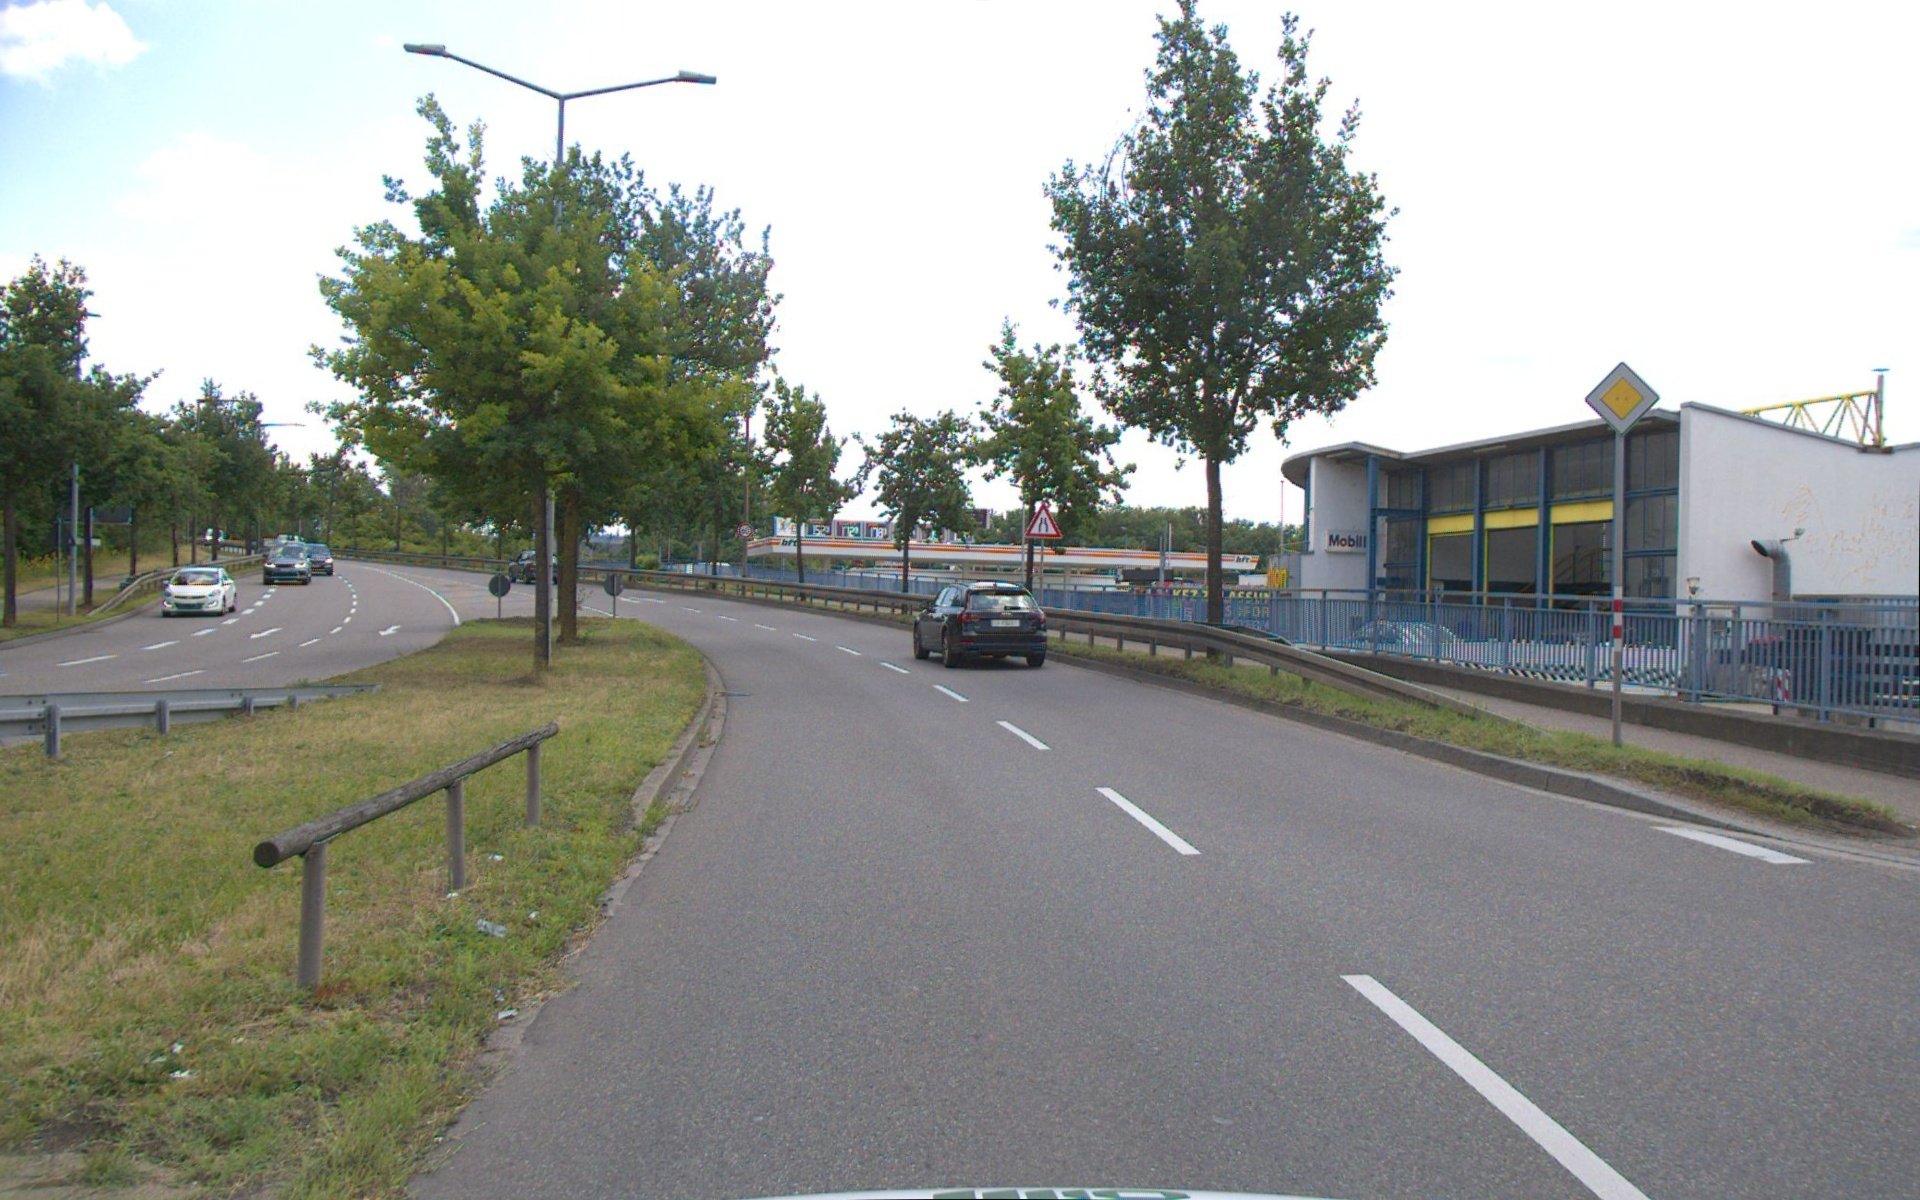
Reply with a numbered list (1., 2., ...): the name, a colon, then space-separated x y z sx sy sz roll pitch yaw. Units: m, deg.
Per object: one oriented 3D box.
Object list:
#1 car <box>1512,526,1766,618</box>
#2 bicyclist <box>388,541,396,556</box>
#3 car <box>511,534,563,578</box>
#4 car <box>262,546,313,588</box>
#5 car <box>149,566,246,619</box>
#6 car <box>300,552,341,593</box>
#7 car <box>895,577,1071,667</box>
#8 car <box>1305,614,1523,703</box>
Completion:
1. car: 16.791 -0.652 40.939 5.709 2.049 2.222 1 -1 -17
2. bicyclist: -45.832 -4.135 133.478 0.468 1.189 0.819 0 -1 -29
3. car: -21.743 -2.212 84.926 1.965 2.073 4.682 1 -1 -22
4. car: -32.080 -1.550 78.787 1.969 1.894 4.676 1 0 -26
5. car: -23.961 -0.229 52.113 1.960 1.559 4.316 -1 0 -14
6. car: -35.652 -1.550 92.329 1.964 2.048 4.791 1 3 -20
7. car: 0.307 0.351 29.813 1.961 1.414 4.557 2 0 -15
8. car: 8.265 1.019 30.605 1.958 1.383 4.736 0 1 -12
